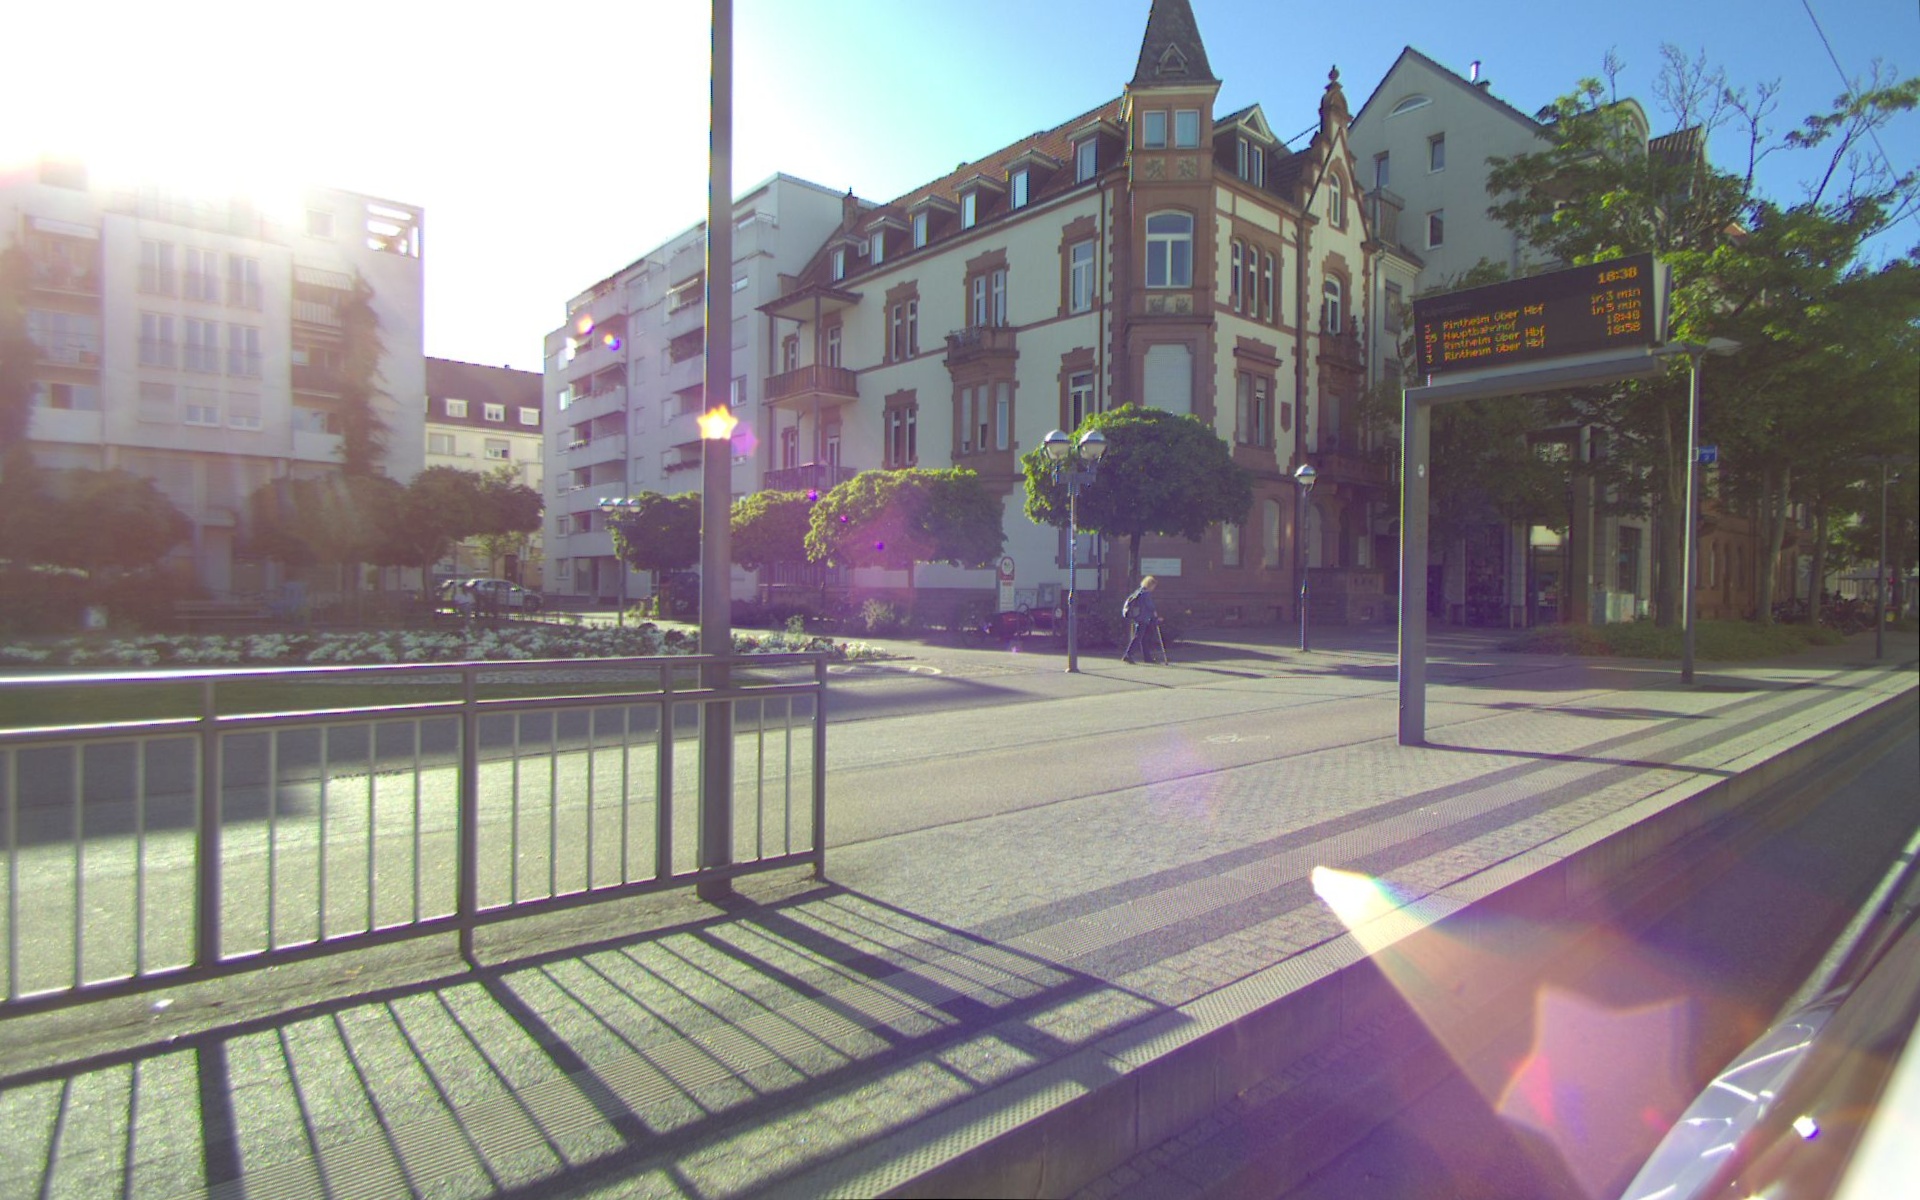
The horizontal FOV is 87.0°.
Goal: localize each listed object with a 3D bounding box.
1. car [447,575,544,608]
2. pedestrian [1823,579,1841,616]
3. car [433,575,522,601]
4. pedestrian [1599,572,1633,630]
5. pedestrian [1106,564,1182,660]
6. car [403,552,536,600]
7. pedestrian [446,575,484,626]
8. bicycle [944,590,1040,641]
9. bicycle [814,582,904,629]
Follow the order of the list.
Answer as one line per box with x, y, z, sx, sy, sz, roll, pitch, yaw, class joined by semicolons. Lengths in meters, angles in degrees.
-22.105;-0.421;48.204;3.923;1.536;2.001;0;1;-34;car
48.385;-0.140;56.134;0.549;2.039;0.654;0;1;-38;pedestrian
-24.970;-0.611;52.412;3.923;1.304;2.001;0;1;-34;car
20.565;0.021;31.727;0.740;1.757;0.864;1;1;43;pedestrian
3.368;0.202;18.519;1.064;1.689;0.944;1;1;37;pedestrian
-27.875;-1.365;57.711;2.806;2.587;6.296;1;1;44;car
-14.437;-0.004;29.493;0.917;1.429;1.529;0;1;-30;pedestrian
0.808;0.340;24.272;0.786;1.081;2.767;1;3;40;bicycle
-3.069;0.149;31.031;2.864;1.389;0.745;0;1;-41;bicycle
